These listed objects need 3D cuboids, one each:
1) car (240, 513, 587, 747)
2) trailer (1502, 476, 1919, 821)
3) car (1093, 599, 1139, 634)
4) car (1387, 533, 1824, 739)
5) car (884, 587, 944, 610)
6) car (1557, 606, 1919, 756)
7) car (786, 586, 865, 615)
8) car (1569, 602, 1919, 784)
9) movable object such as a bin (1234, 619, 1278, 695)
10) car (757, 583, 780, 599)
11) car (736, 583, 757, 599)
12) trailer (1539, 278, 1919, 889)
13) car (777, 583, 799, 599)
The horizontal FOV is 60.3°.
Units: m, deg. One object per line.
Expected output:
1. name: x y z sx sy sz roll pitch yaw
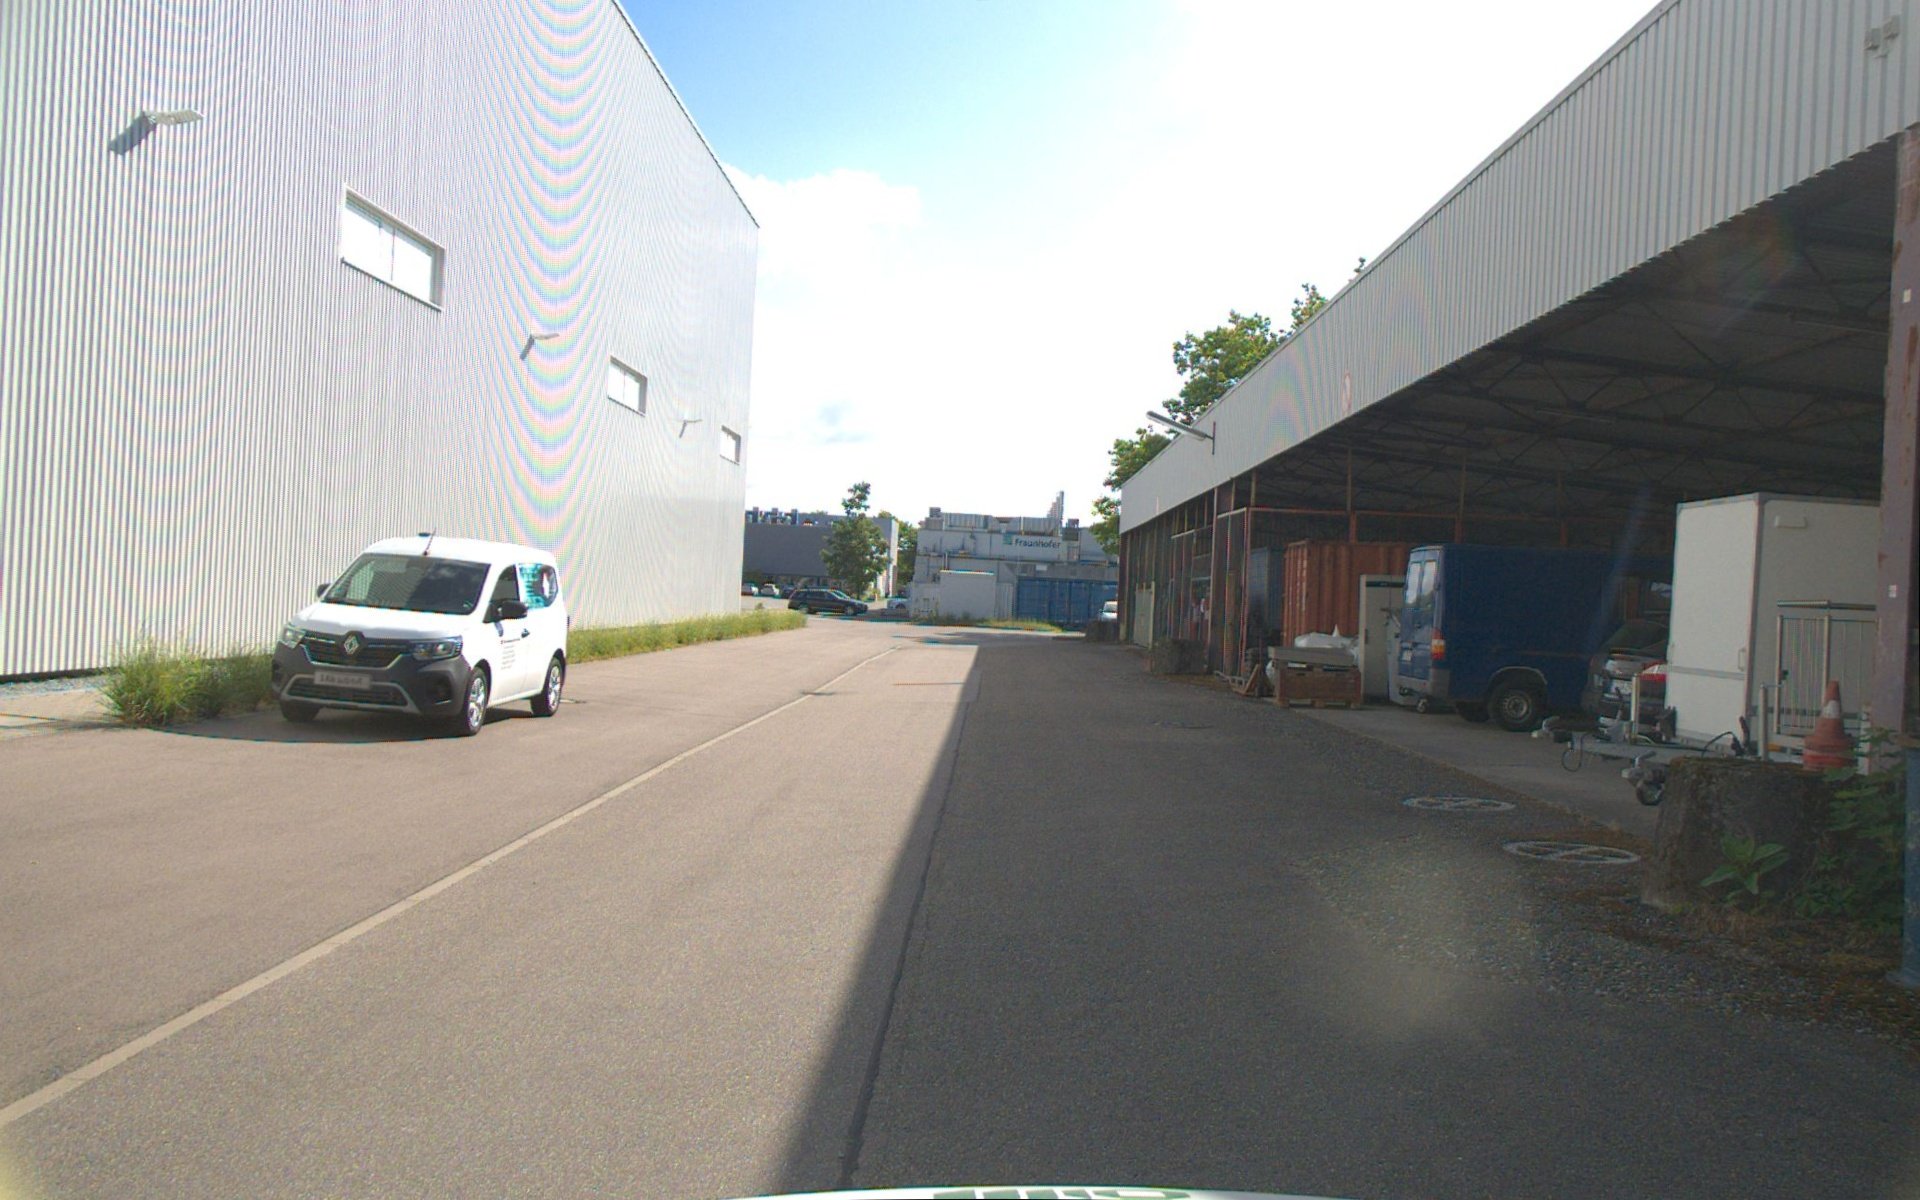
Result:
1. car: -5.238 0.255 16.547 1.852 1.877 4.358 5 0 0
2. trailer: 6.891 0.380 12.904 4.711 2.433 1.828 2 0 6
3. car: 8.051 0.838 85.829 1.953 1.613 4.173 2 2 0
4. car: 8.304 0.444 21.625 4.876 2.366 2.000 2 0 1
5. car: -3.483 -0.104 126.326 4.432 1.534 1.909 2 0 2
6. car: 9.029 0.890 18.652 3.908 1.498 1.787 2 0 -4
7. car: -8.021 0.017 98.774 4.432 1.534 1.909 2 0 3
8. car: 8.180 0.859 15.532 4.241 1.522 1.777 2 0 -2
9. movable object such as a bin: 4.887 0.928 27.344 0.569 1.185 1.239 2 0 5
10. car: -22.696 -1.047 196.094 2.148 1.766 4.000 1 0 0
11. car: -25.235 -1.060 195.780 1.952 1.766 4.000 1 0 0
12. trailer: 9.067 0.045 10.337 9.831 3.272 2.854 2 0 1
13. car: -20.220 -1.045 194.355 2.148 1.766 4.000 1 0 0
